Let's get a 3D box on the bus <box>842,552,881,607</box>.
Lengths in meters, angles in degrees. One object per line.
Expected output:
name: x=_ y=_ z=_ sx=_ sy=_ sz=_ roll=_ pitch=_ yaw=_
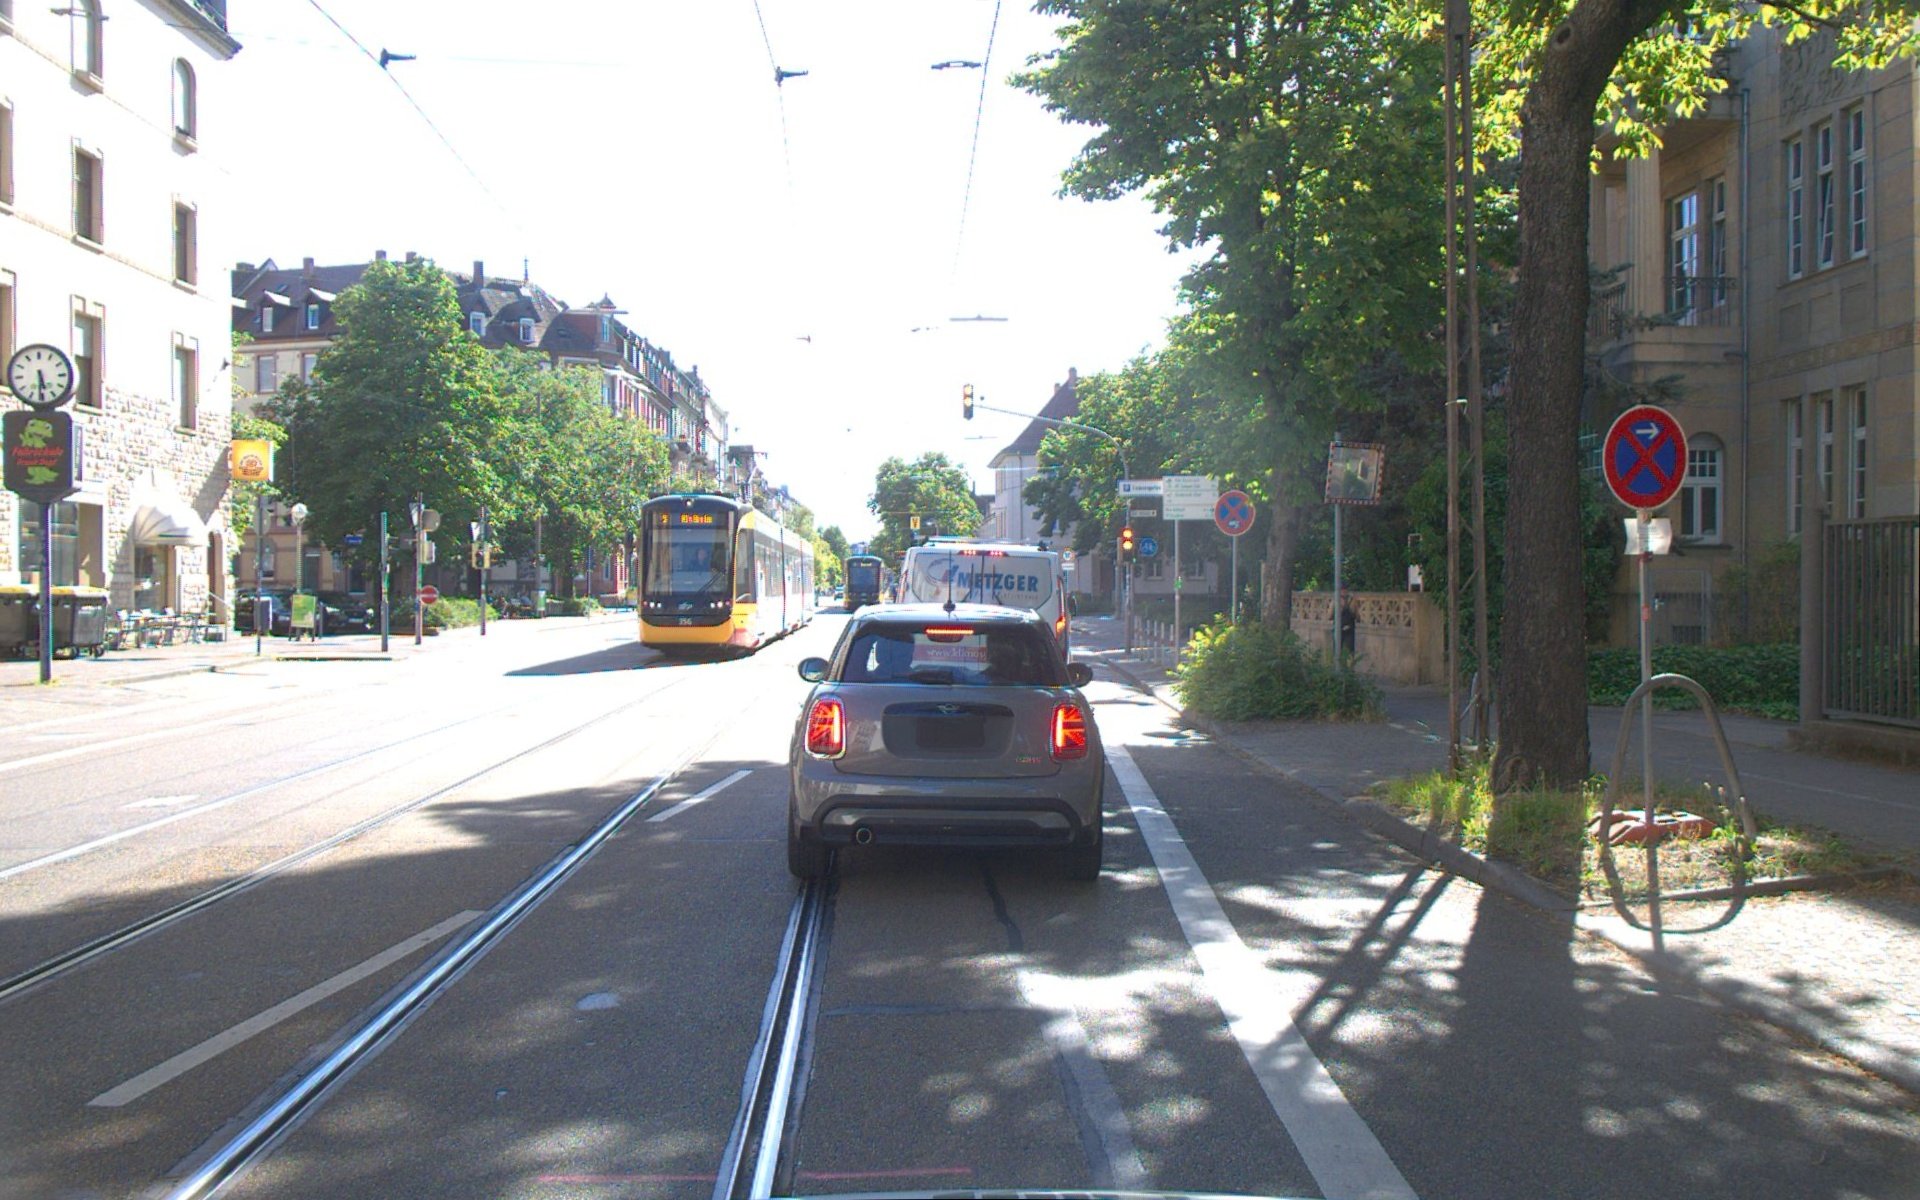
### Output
bus: x=-6.675 y=-1.323 z=111.592 sx=2.339 sy=3.557 sz=7.376 roll=1 pitch=0 yaw=-5

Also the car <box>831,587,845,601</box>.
car: x=-15.298 y=-0.773 z=207.795 sx=1.741 sy=1.646 sz=3.996 roll=1 pitch=0 yaw=-4

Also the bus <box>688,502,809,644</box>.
bus: x=-6.301 y=-0.710 z=50.902 sx=2.803 sy=3.843 sz=11.176 roll=1 pitch=0 yaw=-3

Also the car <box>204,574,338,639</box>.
car: x=-22.571 y=0.209 z=54.186 sx=3.910 sy=2.049 sz=1.997 roll=1 pitch=0 yaw=28

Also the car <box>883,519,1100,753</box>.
car: x=0.271 y=0.362 z=18.579 sx=2.075 sy=2.247 sz=4.943 roll=1 pitch=0 yaw=-1

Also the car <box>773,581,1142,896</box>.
car: x=-0.038 y=0.688 z=10.088 sx=1.778 sy=1.514 sz=3.999 roll=1 pitch=0 yaw=-1

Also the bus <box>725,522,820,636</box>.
bus: x=-6.906 y=-0.696 z=62.533 sx=2.793 sy=3.843 sz=12.189 roll=1 pitch=0 yaw=-3

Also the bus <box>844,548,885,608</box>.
bus: x=-6.053 y=-1.324 z=104.189 sx=2.339 sy=3.557 sz=7.376 roll=1 pitch=0 yaw=-5

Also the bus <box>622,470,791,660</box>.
bus: x=-5.774 y=-0.686 z=39.613 sx=2.803 sy=3.843 sz=11.490 roll=1 pitch=0 yaw=-3

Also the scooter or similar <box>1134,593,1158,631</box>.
scooter or similar: x=6.609 y=0.423 z=58.908 sx=0.662 sy=1.333 sz=1.328 roll=1 pitch=0 yaw=-2

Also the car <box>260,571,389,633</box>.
car: x=-21.623 y=0.059 z=56.277 sx=3.910 sy=2.049 sz=1.997 roll=1 pitch=0 yaw=28

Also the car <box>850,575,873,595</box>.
car: x=-8.221 y=-1.258 z=137.326 sx=1.827 sy=1.591 sz=3.996 roll=1 pitch=0 yaw=-4

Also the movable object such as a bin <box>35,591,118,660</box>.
movable object such as a bin: x=-17.106 y=0.487 z=32.054 sx=0.925 sy=1.296 sz=1.144 roll=1 pitch=0 yaw=3

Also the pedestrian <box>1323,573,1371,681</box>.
pedestrian: x=6.229 y=0.432 z=26.638 sx=0.580 sy=1.700 sz=0.646 roll=-2 pitch=0 yaw=-1

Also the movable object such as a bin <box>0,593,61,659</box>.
movable object such as a bin: x=-17.998 y=0.486 z=31.679 sx=0.815 sy=1.244 sz=1.244 roll=1 pitch=0 yaw=1
